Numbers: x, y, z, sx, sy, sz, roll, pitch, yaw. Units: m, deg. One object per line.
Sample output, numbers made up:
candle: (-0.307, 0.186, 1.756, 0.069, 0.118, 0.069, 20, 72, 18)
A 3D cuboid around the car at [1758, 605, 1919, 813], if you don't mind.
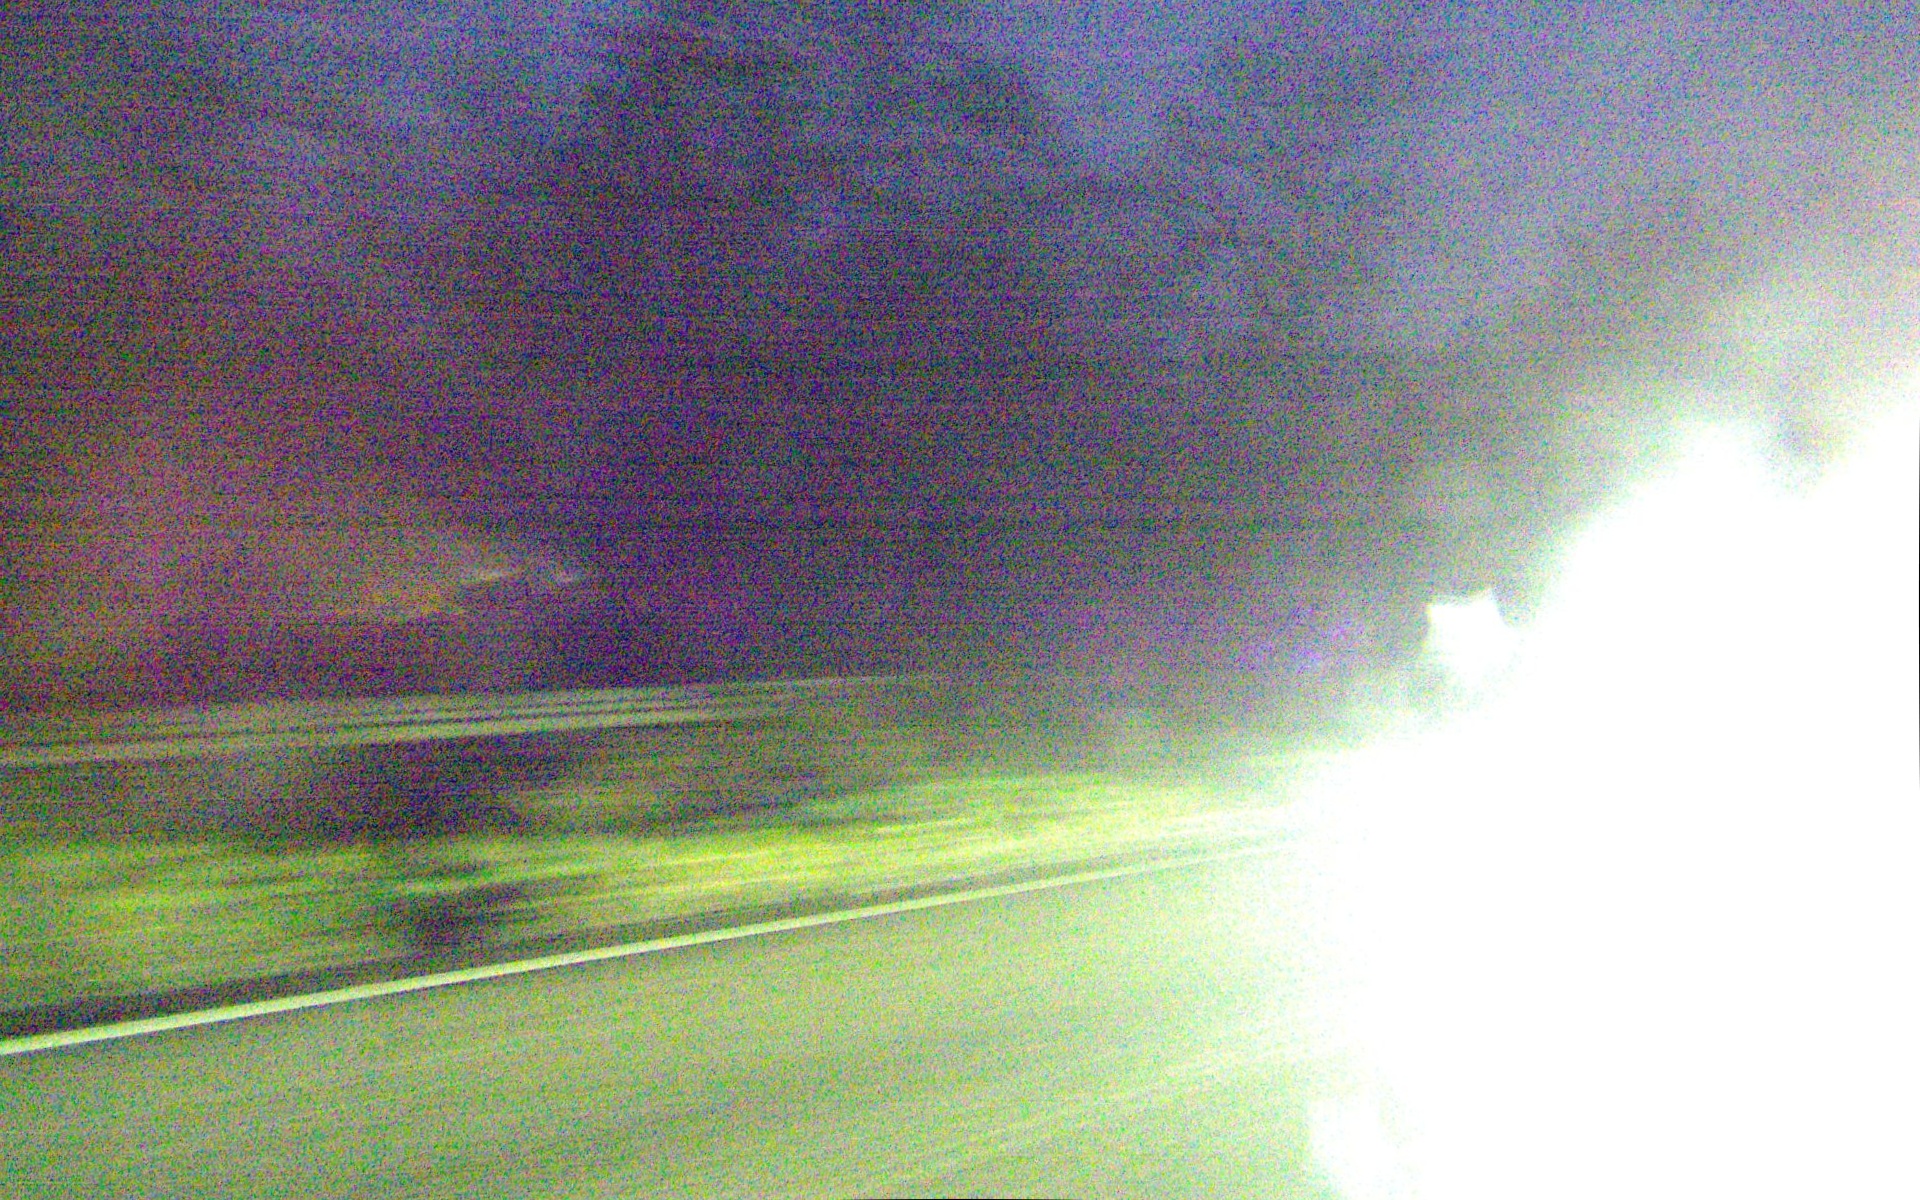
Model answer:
car: (9.458, 0.895, 9.214, 4.932, 1.605, 1.919, 1, -2, -34)
